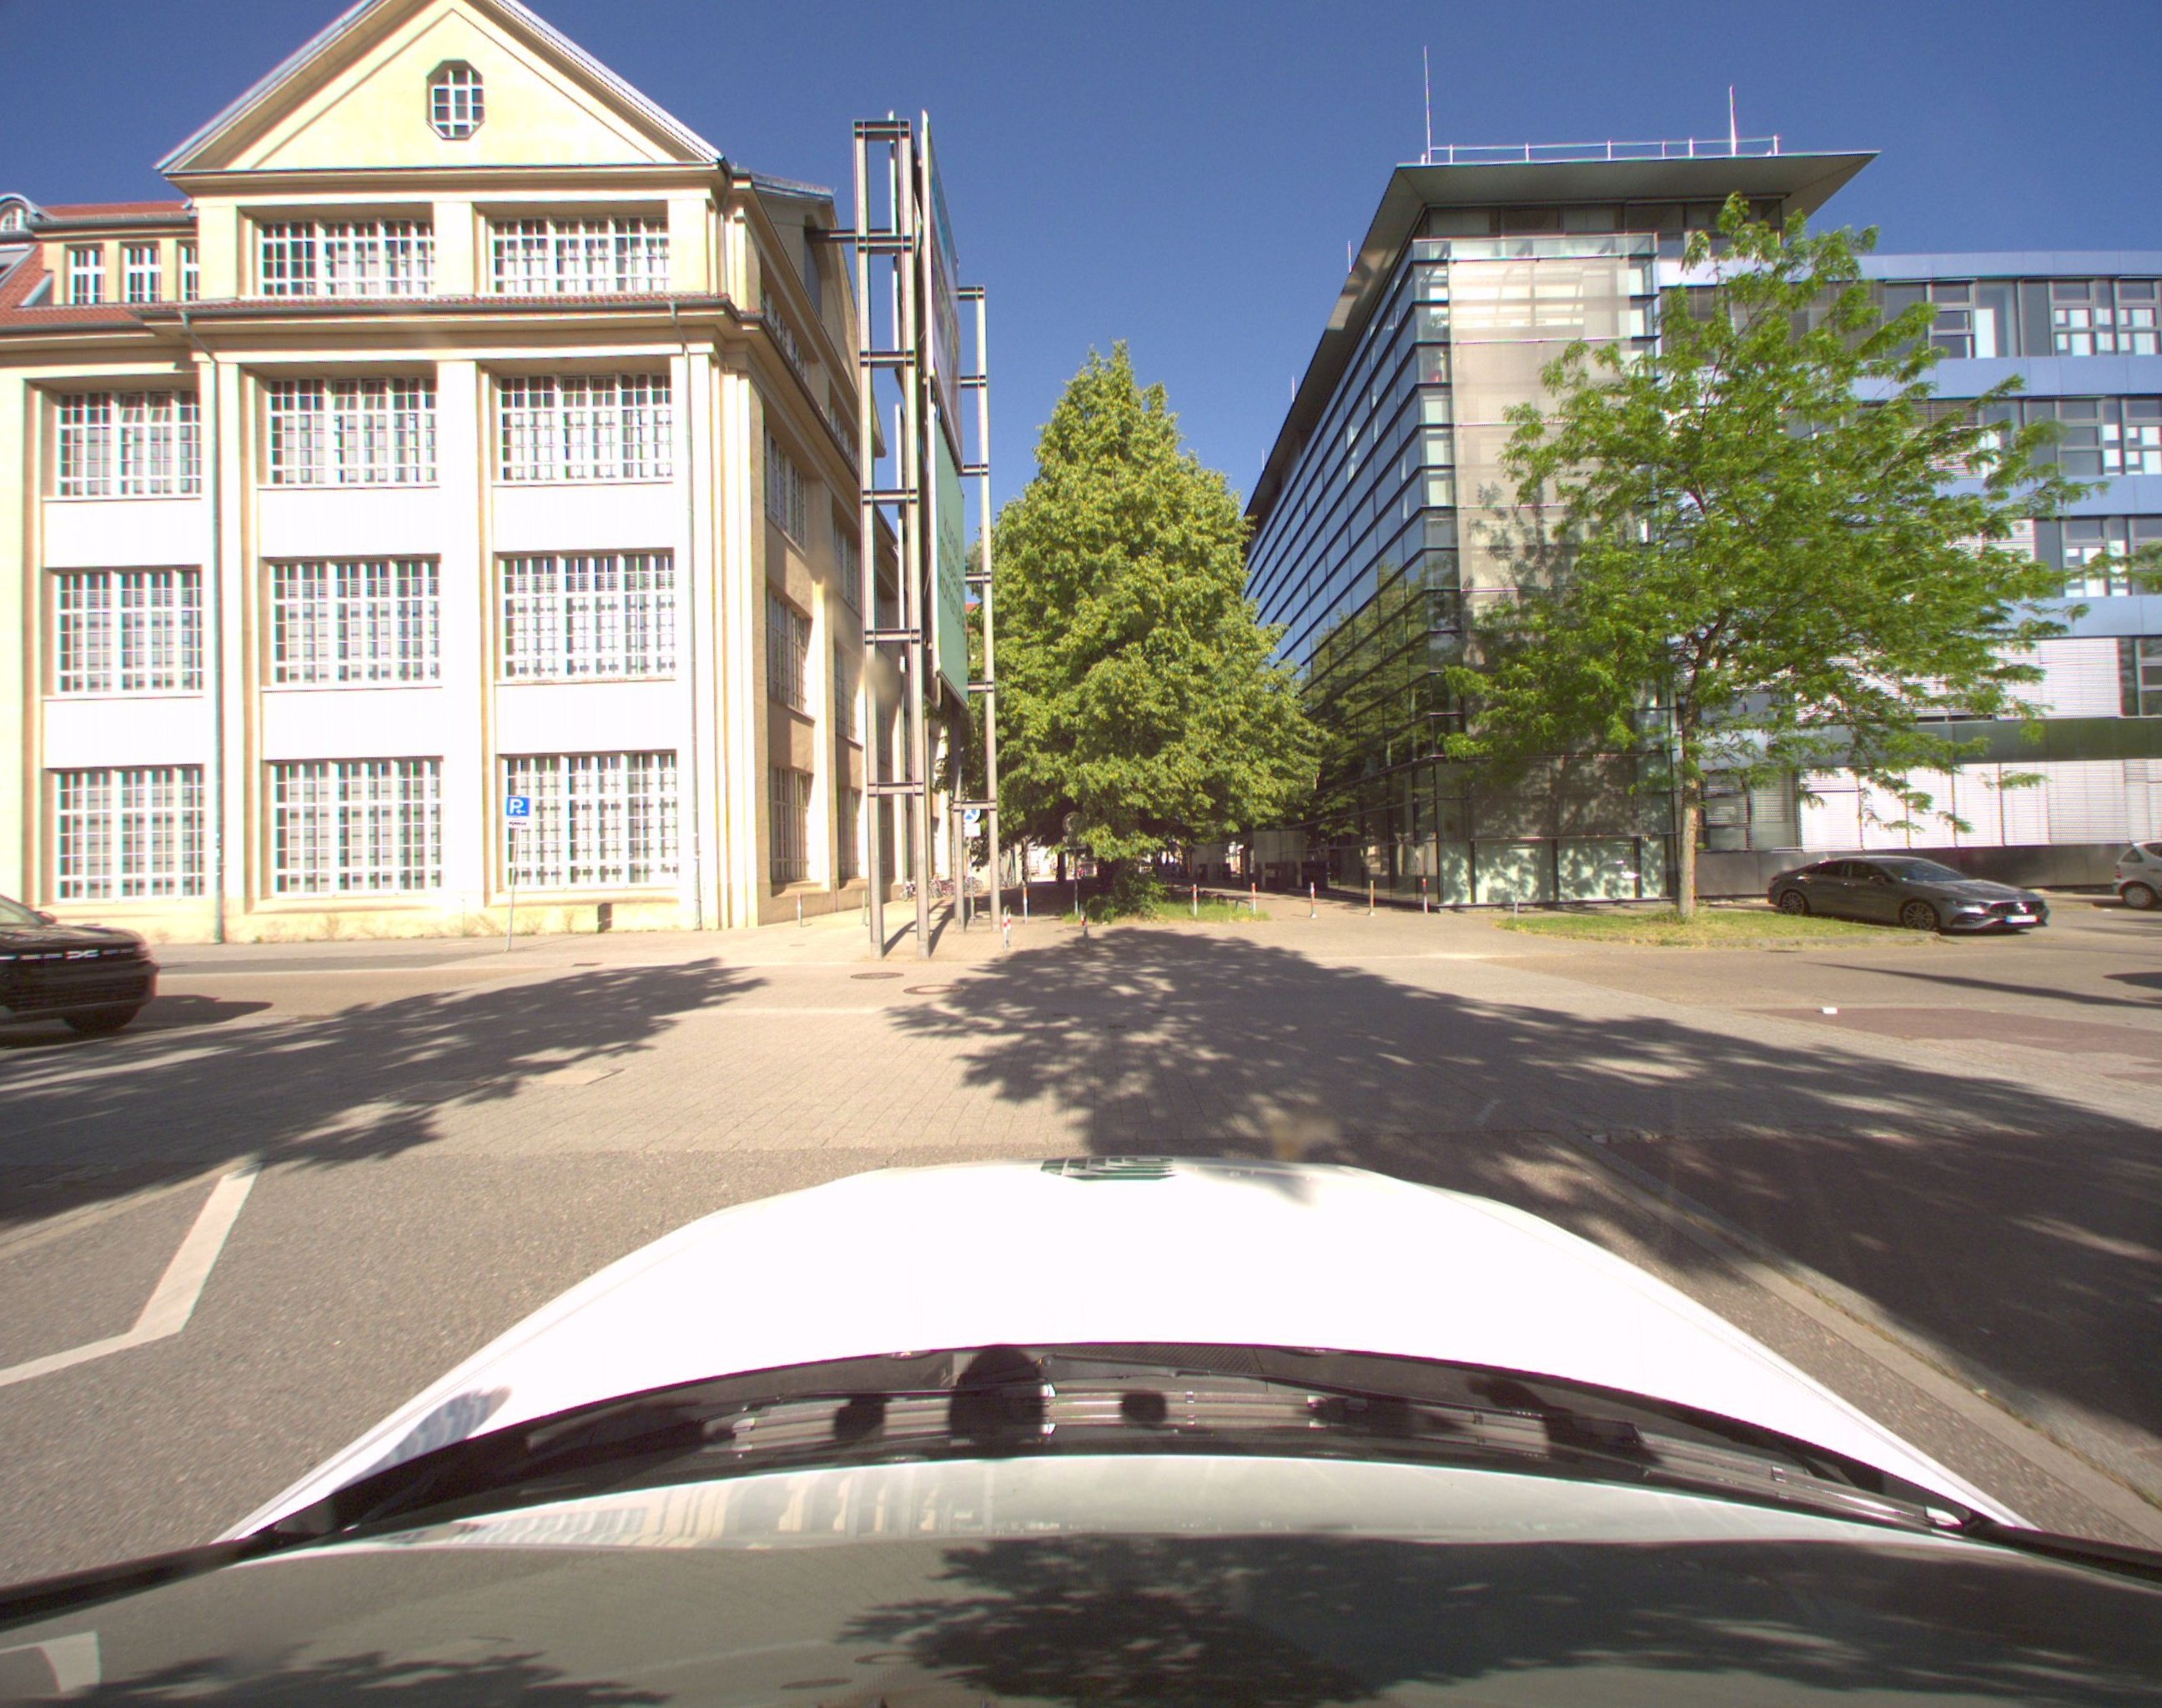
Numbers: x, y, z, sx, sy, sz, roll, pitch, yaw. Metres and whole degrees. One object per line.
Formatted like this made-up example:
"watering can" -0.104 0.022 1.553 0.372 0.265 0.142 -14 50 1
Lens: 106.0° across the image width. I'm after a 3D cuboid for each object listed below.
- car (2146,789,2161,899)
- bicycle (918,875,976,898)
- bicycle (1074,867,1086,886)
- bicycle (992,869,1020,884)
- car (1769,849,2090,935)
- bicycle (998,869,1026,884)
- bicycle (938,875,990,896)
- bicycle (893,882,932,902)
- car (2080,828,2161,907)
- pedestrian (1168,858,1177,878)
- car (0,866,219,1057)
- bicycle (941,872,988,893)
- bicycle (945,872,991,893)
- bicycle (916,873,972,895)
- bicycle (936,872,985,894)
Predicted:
"car" 26.883 -0.258 16.964 2.217 2.622 5.471 -2 0 0
"bicycle" -6.705 1.618 40.885 2.795 1.063 0.718 -1 -1 -4
"bicycle" -0.103 1.503 54.713 0.618 1.197 2.128 -2 -1 -4
"bicycle" -5.570 1.673 60.601 2.049 1.066 0.507 -2 -1 2
"car" 16.933 0.661 16.678 1.880 1.350 4.550 -1 2 0
"bicycle" -5.194 1.656 61.239 2.049 1.066 0.507 -2 -1 2
"bicycle" -6.522 1.738 45.438 2.795 1.063 0.718 -1 -1 -4
"bicycle" -7.828 1.741 38.006 0.773 0.792 2.891 -2 0 8
"car" 24.318 0.313 17.145 1.880 1.645 3.843 -2 2 -1
"pedestrian" 7.535 1.157 67.055 0.713 1.550 0.691 -2 -1 7
"car" -11.637 1.031 8.078 4.074 1.696 2.001 -2 -1 2
"bicycle" -7.010 1.703 49.187 2.726 1.151 0.718 -1 -1 -4
"bicycle" -6.913 1.751 49.975 2.726 1.151 0.718 -1 -1 -4
"bicycle" -7.127 1.548 42.491 2.791 1.063 0.719 -1 -1 0
"bicycle" -7.061 1.702 47.873 2.795 1.151 0.718 -2 -1 -4
